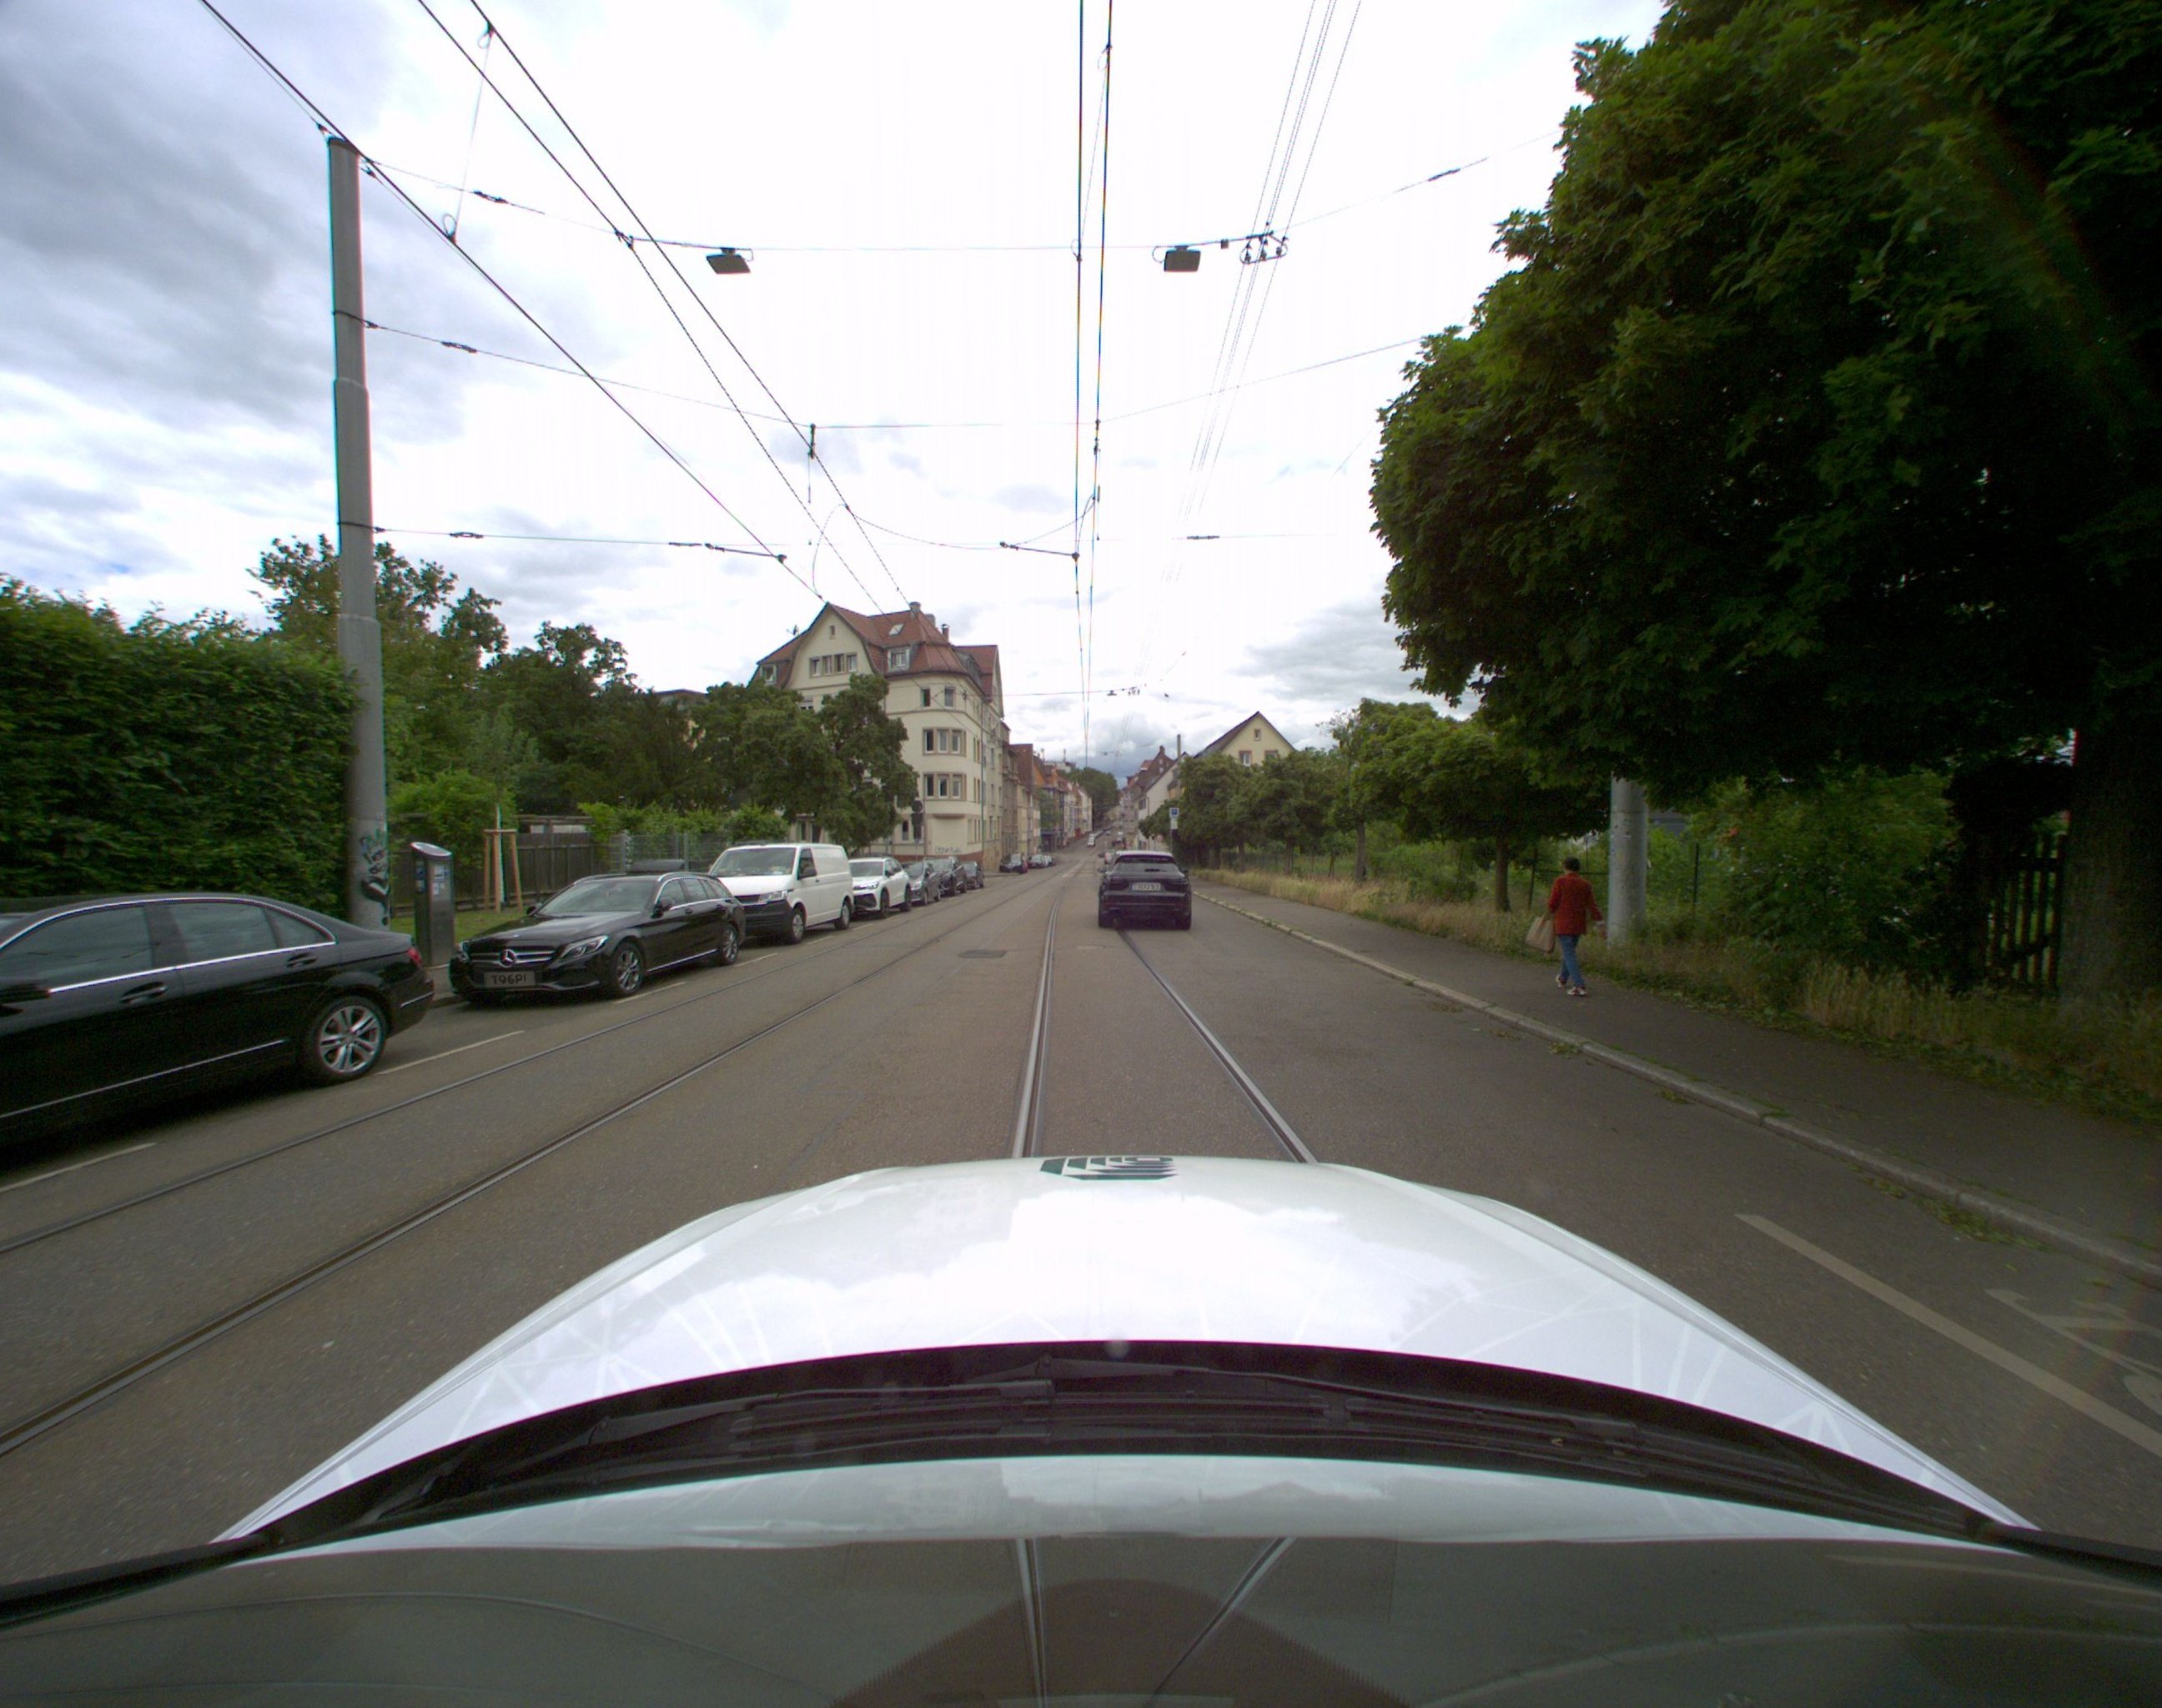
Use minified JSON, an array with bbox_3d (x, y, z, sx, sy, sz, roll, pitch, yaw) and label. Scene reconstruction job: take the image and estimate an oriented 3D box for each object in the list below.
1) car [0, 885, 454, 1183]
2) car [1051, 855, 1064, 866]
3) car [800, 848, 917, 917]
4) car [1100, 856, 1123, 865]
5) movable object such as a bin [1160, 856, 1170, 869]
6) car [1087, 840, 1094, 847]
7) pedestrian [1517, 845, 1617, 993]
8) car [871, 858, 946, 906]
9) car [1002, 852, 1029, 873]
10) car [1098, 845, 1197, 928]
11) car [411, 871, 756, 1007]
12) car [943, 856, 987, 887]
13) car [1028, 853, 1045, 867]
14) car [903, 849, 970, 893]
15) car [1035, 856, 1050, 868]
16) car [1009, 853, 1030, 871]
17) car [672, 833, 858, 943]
[{"bbox_3d":[-6.167,0.928,4.585,1.834,1.387,4.439,-1,-1,0],"label":"car"},{"bbox_3d":[-3.191,0.884,109.784,1.615,1.473,4.554,-1,-1,0],"label":"car"},{"bbox_3d":[-6.007,0.758,22.617,1.963,1.686,4.632,-1,-1,0],"label":"car"},{"bbox_3d":[5.701,1.201,151.453,3.790,1.769,2.011,0,-1,24],"label":"car"},{"bbox_3d":[7.653,0.791,74.002,0.790,1.218,0.788,0,-1,-3],"label":"movable object such as a bin"},{"bbox_3d":[2.550,-2.716,212.229,1.744,1.760,4.255,0,0,2],"label":"car"},{"bbox_3d":[5.517,0.712,9.285,0.712,1.621,0.719,0,-1,1],"label":"pedestrian"},{"bbox_3d":[-5.883,0.937,28.185,1.733,1.509,3.868,-1,-1,0],"label":"car"},{"bbox_3d":[-5.252,0.680,65.872,1.861,1.646,4.401,-1,-1,0],"label":"car"},{"bbox_3d":[1.381,0.676,18.465,1.987,1.676,4.000,0,0,1],"label":"car"},{"bbox_3d":[-6.181,0.950,10.900,1.834,1.387,4.517,-1,-1,0],"label":"car"},{"bbox_3d":[-5.754,0.875,40.792,1.615,1.477,4.155,-1,-1,0],"label":"car"},{"bbox_3d":[-4.903,0.662,90.383,1.615,1.463,4.032,-1,-1,0],"label":"car"},{"bbox_3d":[-5.964,0.713,34.120,1.963,1.686,4.443,-1,-1,0],"label":"car"},{"bbox_3d":[-4.791,1.049,101.101,1.615,1.463,3.684,-1,-1,0],"label":"car"},{"bbox_3d":[-5.393,0.717,71.725,1.615,1.463,3.744,-1,-1,0],"label":"car"},{"bbox_3d":[-6.234,0.644,16.764,1.963,1.913,4.733,-1,-1,0],"label":"car"}]
